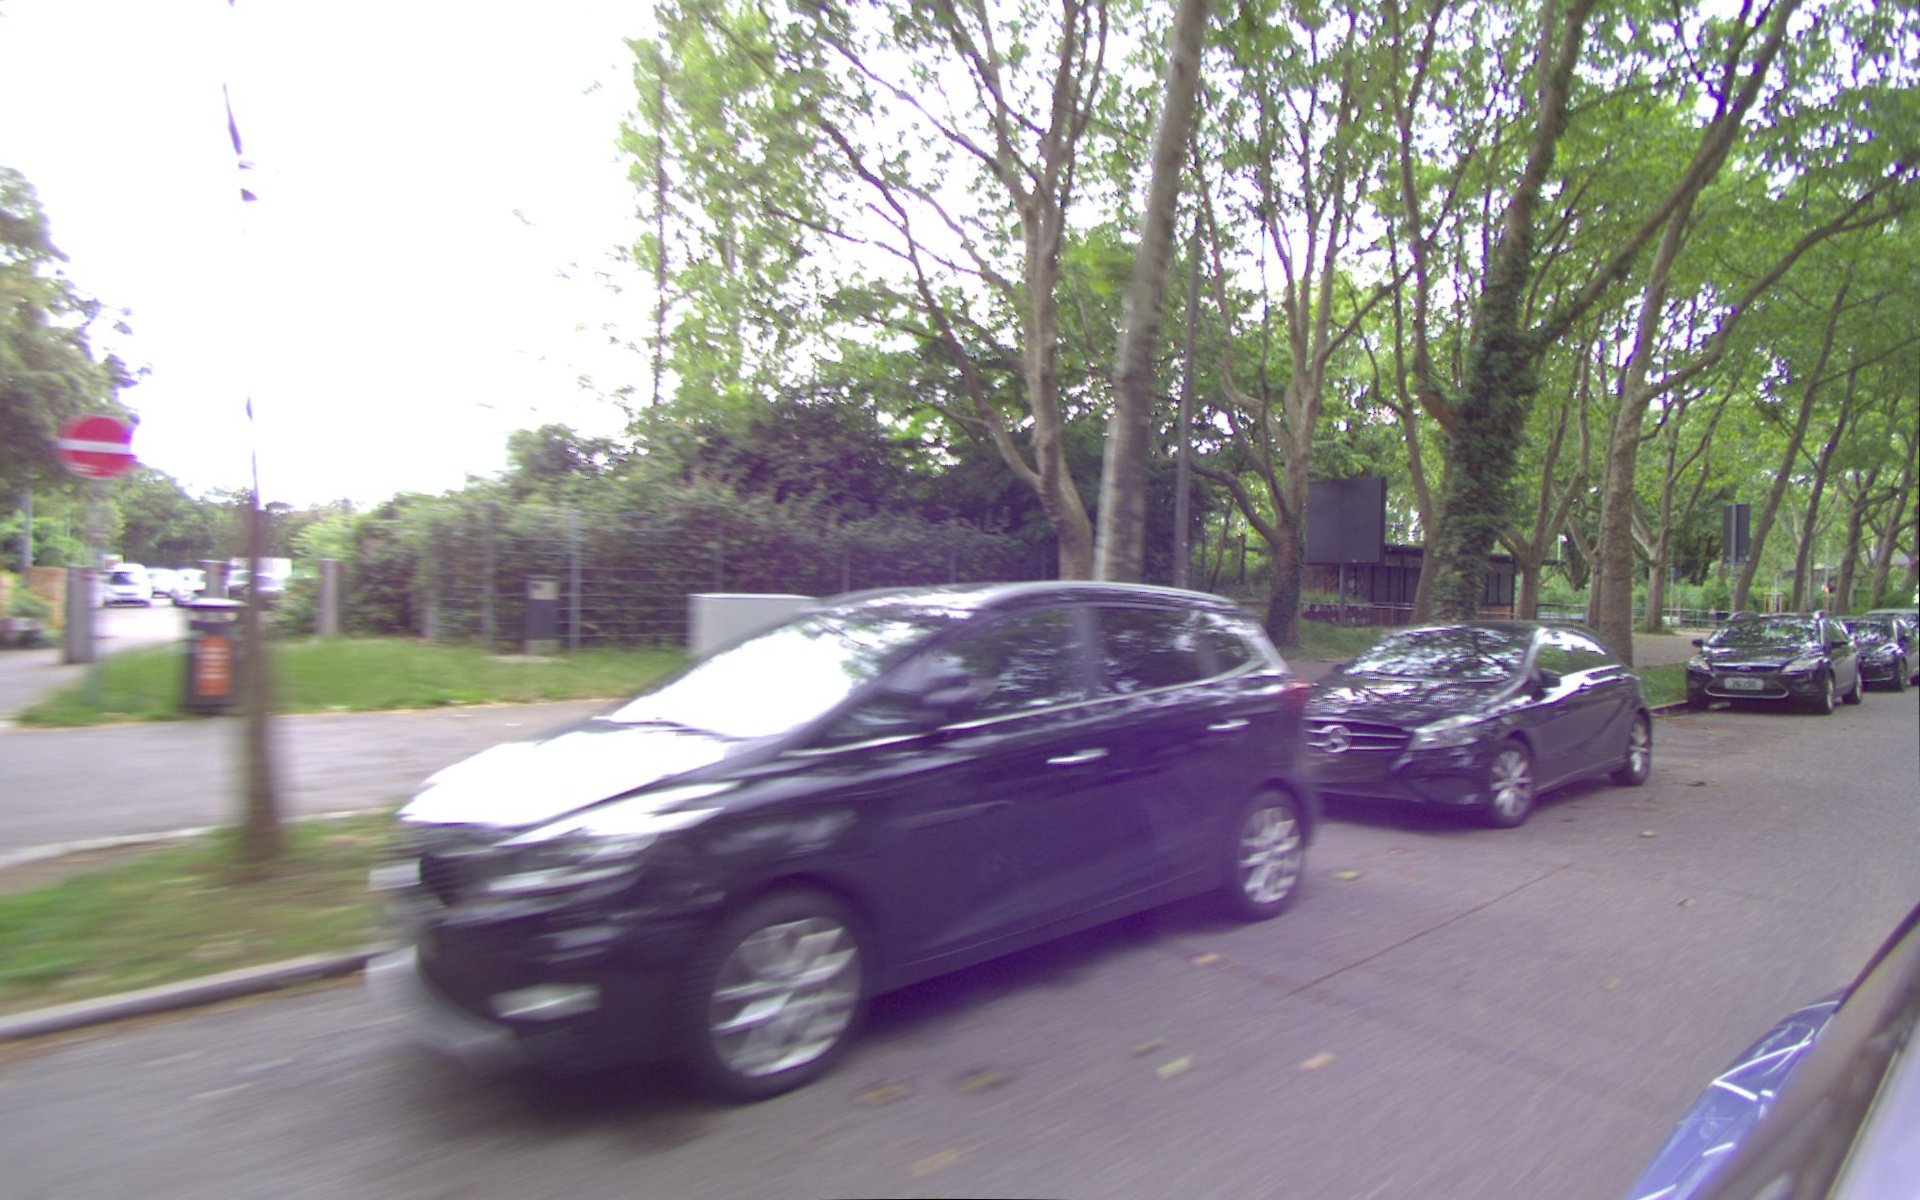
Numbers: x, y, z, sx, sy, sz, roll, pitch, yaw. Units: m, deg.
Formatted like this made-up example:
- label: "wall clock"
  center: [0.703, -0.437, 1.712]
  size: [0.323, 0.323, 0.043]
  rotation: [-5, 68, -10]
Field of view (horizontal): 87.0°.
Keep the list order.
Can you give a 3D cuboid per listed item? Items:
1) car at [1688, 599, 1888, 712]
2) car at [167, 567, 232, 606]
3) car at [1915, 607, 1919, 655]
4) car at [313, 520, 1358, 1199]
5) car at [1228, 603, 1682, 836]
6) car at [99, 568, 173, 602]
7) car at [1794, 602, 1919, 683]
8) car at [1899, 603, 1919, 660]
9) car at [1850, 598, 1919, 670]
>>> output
- label: "car"
  center: [13.386, 0.799, 16.272]
  size: [4.319, 1.573, 1.779]
  rotation: [0, -1, -41]
- label: "car"
  center: [-33.281, -0.596, 44.383]
  size: [1.961, 1.622, 4.003]
  rotation: [0, 1, -32]
- label: "car"
  center: [30.965, 0.928, 31.165]
  size: [4.006, 1.439, 1.733]
  rotation: [0, -1, -39]
- label: "car"
  center: [-0.172, 0.645, 4.536]
  size: [4.389, 1.623, 1.832]
  rotation: [0, -1, -41]
- label: "car"
  center: [4.205, 0.759, 8.302]
  size: [4.210, 1.437, 1.779]
  rotation: [0, -1, -40]
- label: "car"
  center: [-35.241, -0.650, 43.378]
  size: [1.961, 1.399, 4.003]
  rotation: [0, 1, -32]
- label: "car"
  center: [18.582, 0.793, 20.555]
  size: [4.076, 1.490, 1.742]
  rotation: [0, -1, -39]
- label: "car"
  center: [27.365, 0.819, 27.764]
  size: [4.893, 1.496, 1.733]
  rotation: [0, -1, -40]
- label: "car"
  center: [23.412, 0.797, 24.789]
  size: [4.149, 1.638, 1.782]
  rotation: [0, -1, -40]
